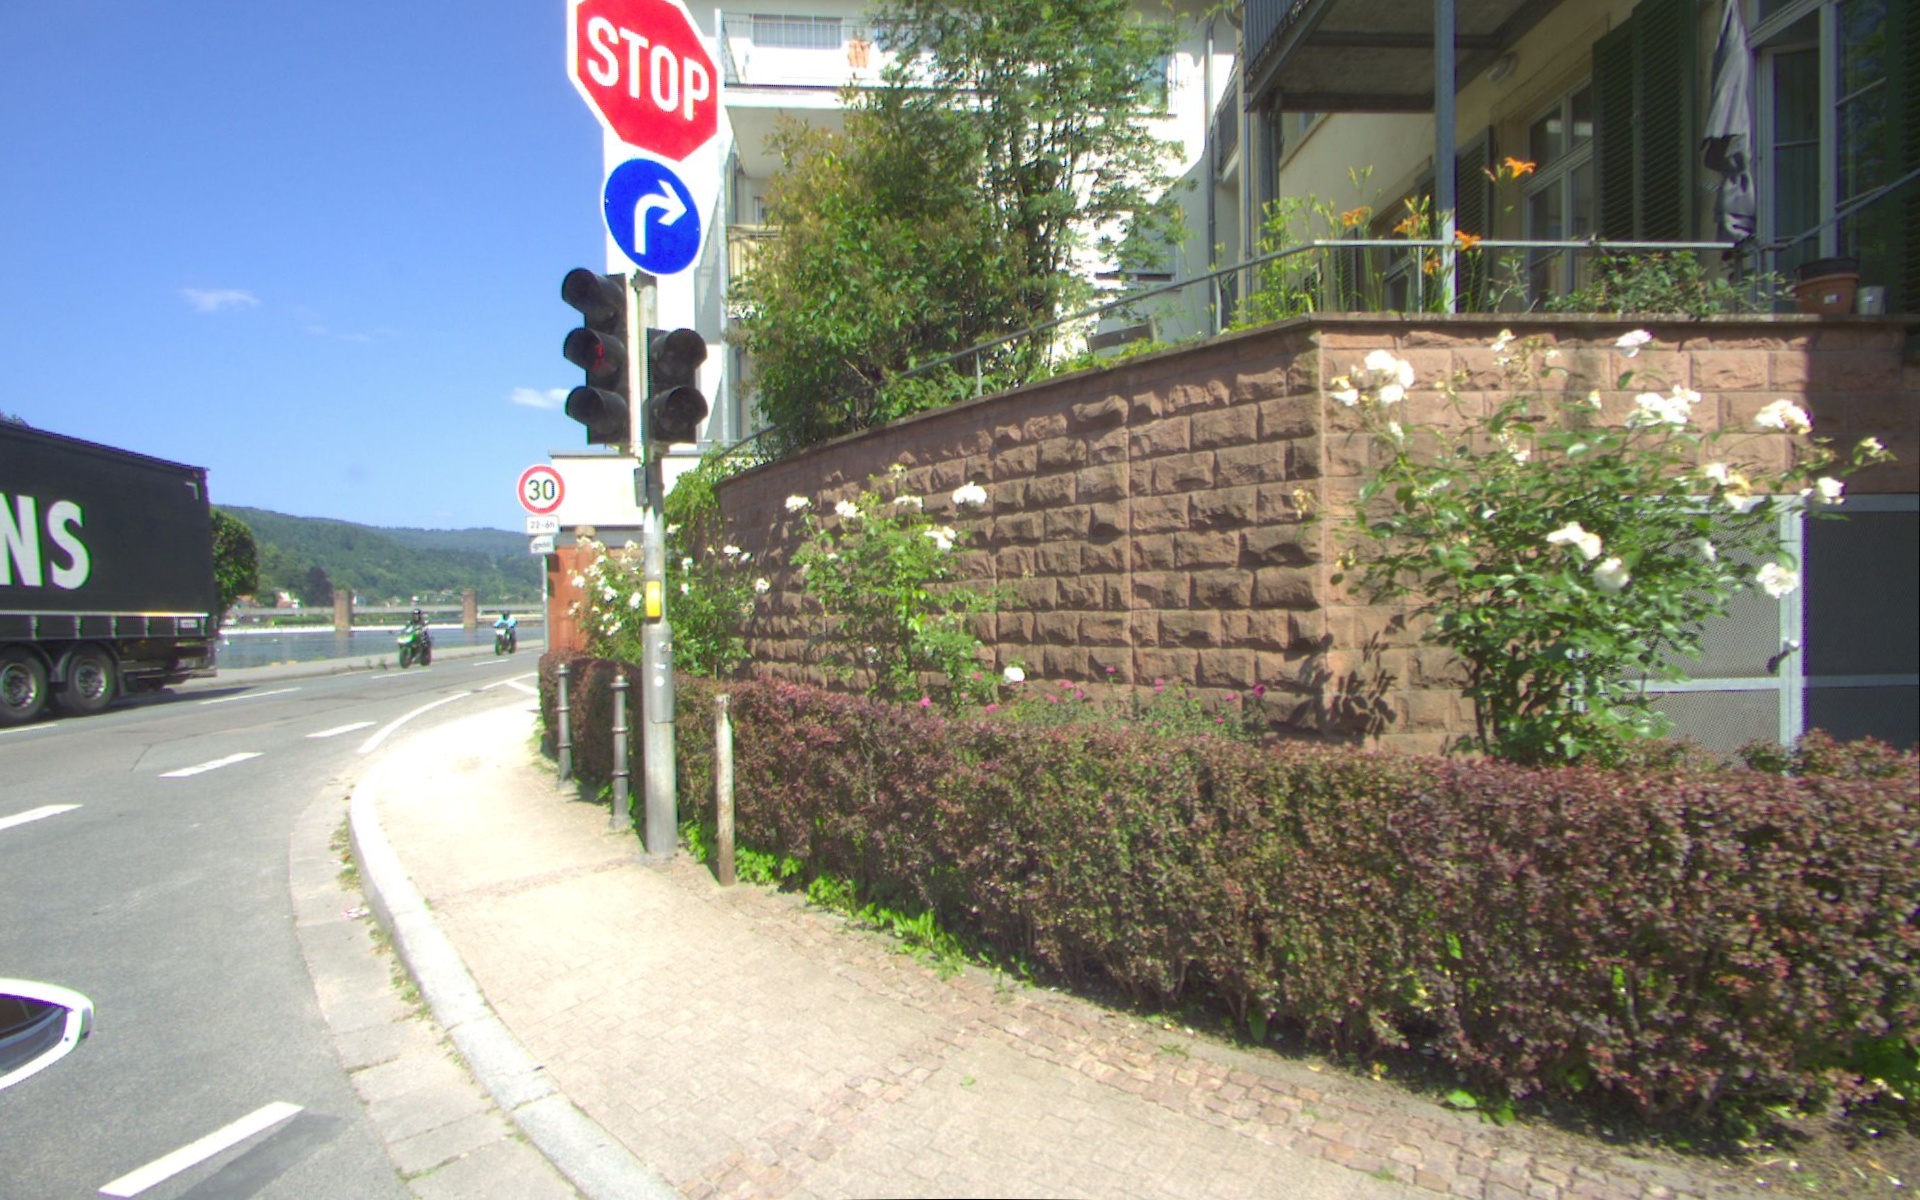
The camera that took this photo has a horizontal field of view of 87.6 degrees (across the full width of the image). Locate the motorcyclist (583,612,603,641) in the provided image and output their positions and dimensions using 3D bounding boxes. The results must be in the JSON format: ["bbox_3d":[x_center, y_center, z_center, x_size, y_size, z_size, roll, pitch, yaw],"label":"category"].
[{"bbox_3d":[-17.720,1.282,48.322,0.706,1.384,0.936,-1,0,-7],"label":"motorcyclist"}]

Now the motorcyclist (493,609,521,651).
[{"bbox_3d":[-17.133,1.114,37.881,0.653,1.545,0.991,-2,0,-9],"label":"motorcyclist"}]

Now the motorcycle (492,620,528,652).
[{"bbox_3d":[-17.173,1.345,38.256,0.623,1.138,2.092,-3,0,-8],"label":"motorcycle"}]

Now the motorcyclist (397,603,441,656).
[{"bbox_3d":[-15.876,0.857,29.391,0.766,1.479,0.991,-2,0,-7],"label":"motorcyclist"}]

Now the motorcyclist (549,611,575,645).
[{"bbox_3d":[-16.328,1.147,41.100,0.774,1.384,0.800,-1,0,-7],"label":"motorcyclist"}]

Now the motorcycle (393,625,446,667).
[{"bbox_3d":[-15.882,1.327,29.477,0.623,1.138,2.092,-3,0,-8],"label":"motorcycle"}]

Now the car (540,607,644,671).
[{"bbox_3d":[-8.956,0.912,24.645,1.661,1.417,3.738,1,-1,-9],"label":"car"}]

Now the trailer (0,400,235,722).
[{"bbox_3d":[-13.513,-0.476,10.682,2.788,4.158,13.767,-2,0,-7],"label":"trailer"}]

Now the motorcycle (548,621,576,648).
[{"bbox_3d":[-16.338,1.404,41.140,0.646,1.038,1.815,-1,0,-7],"label":"motorcycle"}]
